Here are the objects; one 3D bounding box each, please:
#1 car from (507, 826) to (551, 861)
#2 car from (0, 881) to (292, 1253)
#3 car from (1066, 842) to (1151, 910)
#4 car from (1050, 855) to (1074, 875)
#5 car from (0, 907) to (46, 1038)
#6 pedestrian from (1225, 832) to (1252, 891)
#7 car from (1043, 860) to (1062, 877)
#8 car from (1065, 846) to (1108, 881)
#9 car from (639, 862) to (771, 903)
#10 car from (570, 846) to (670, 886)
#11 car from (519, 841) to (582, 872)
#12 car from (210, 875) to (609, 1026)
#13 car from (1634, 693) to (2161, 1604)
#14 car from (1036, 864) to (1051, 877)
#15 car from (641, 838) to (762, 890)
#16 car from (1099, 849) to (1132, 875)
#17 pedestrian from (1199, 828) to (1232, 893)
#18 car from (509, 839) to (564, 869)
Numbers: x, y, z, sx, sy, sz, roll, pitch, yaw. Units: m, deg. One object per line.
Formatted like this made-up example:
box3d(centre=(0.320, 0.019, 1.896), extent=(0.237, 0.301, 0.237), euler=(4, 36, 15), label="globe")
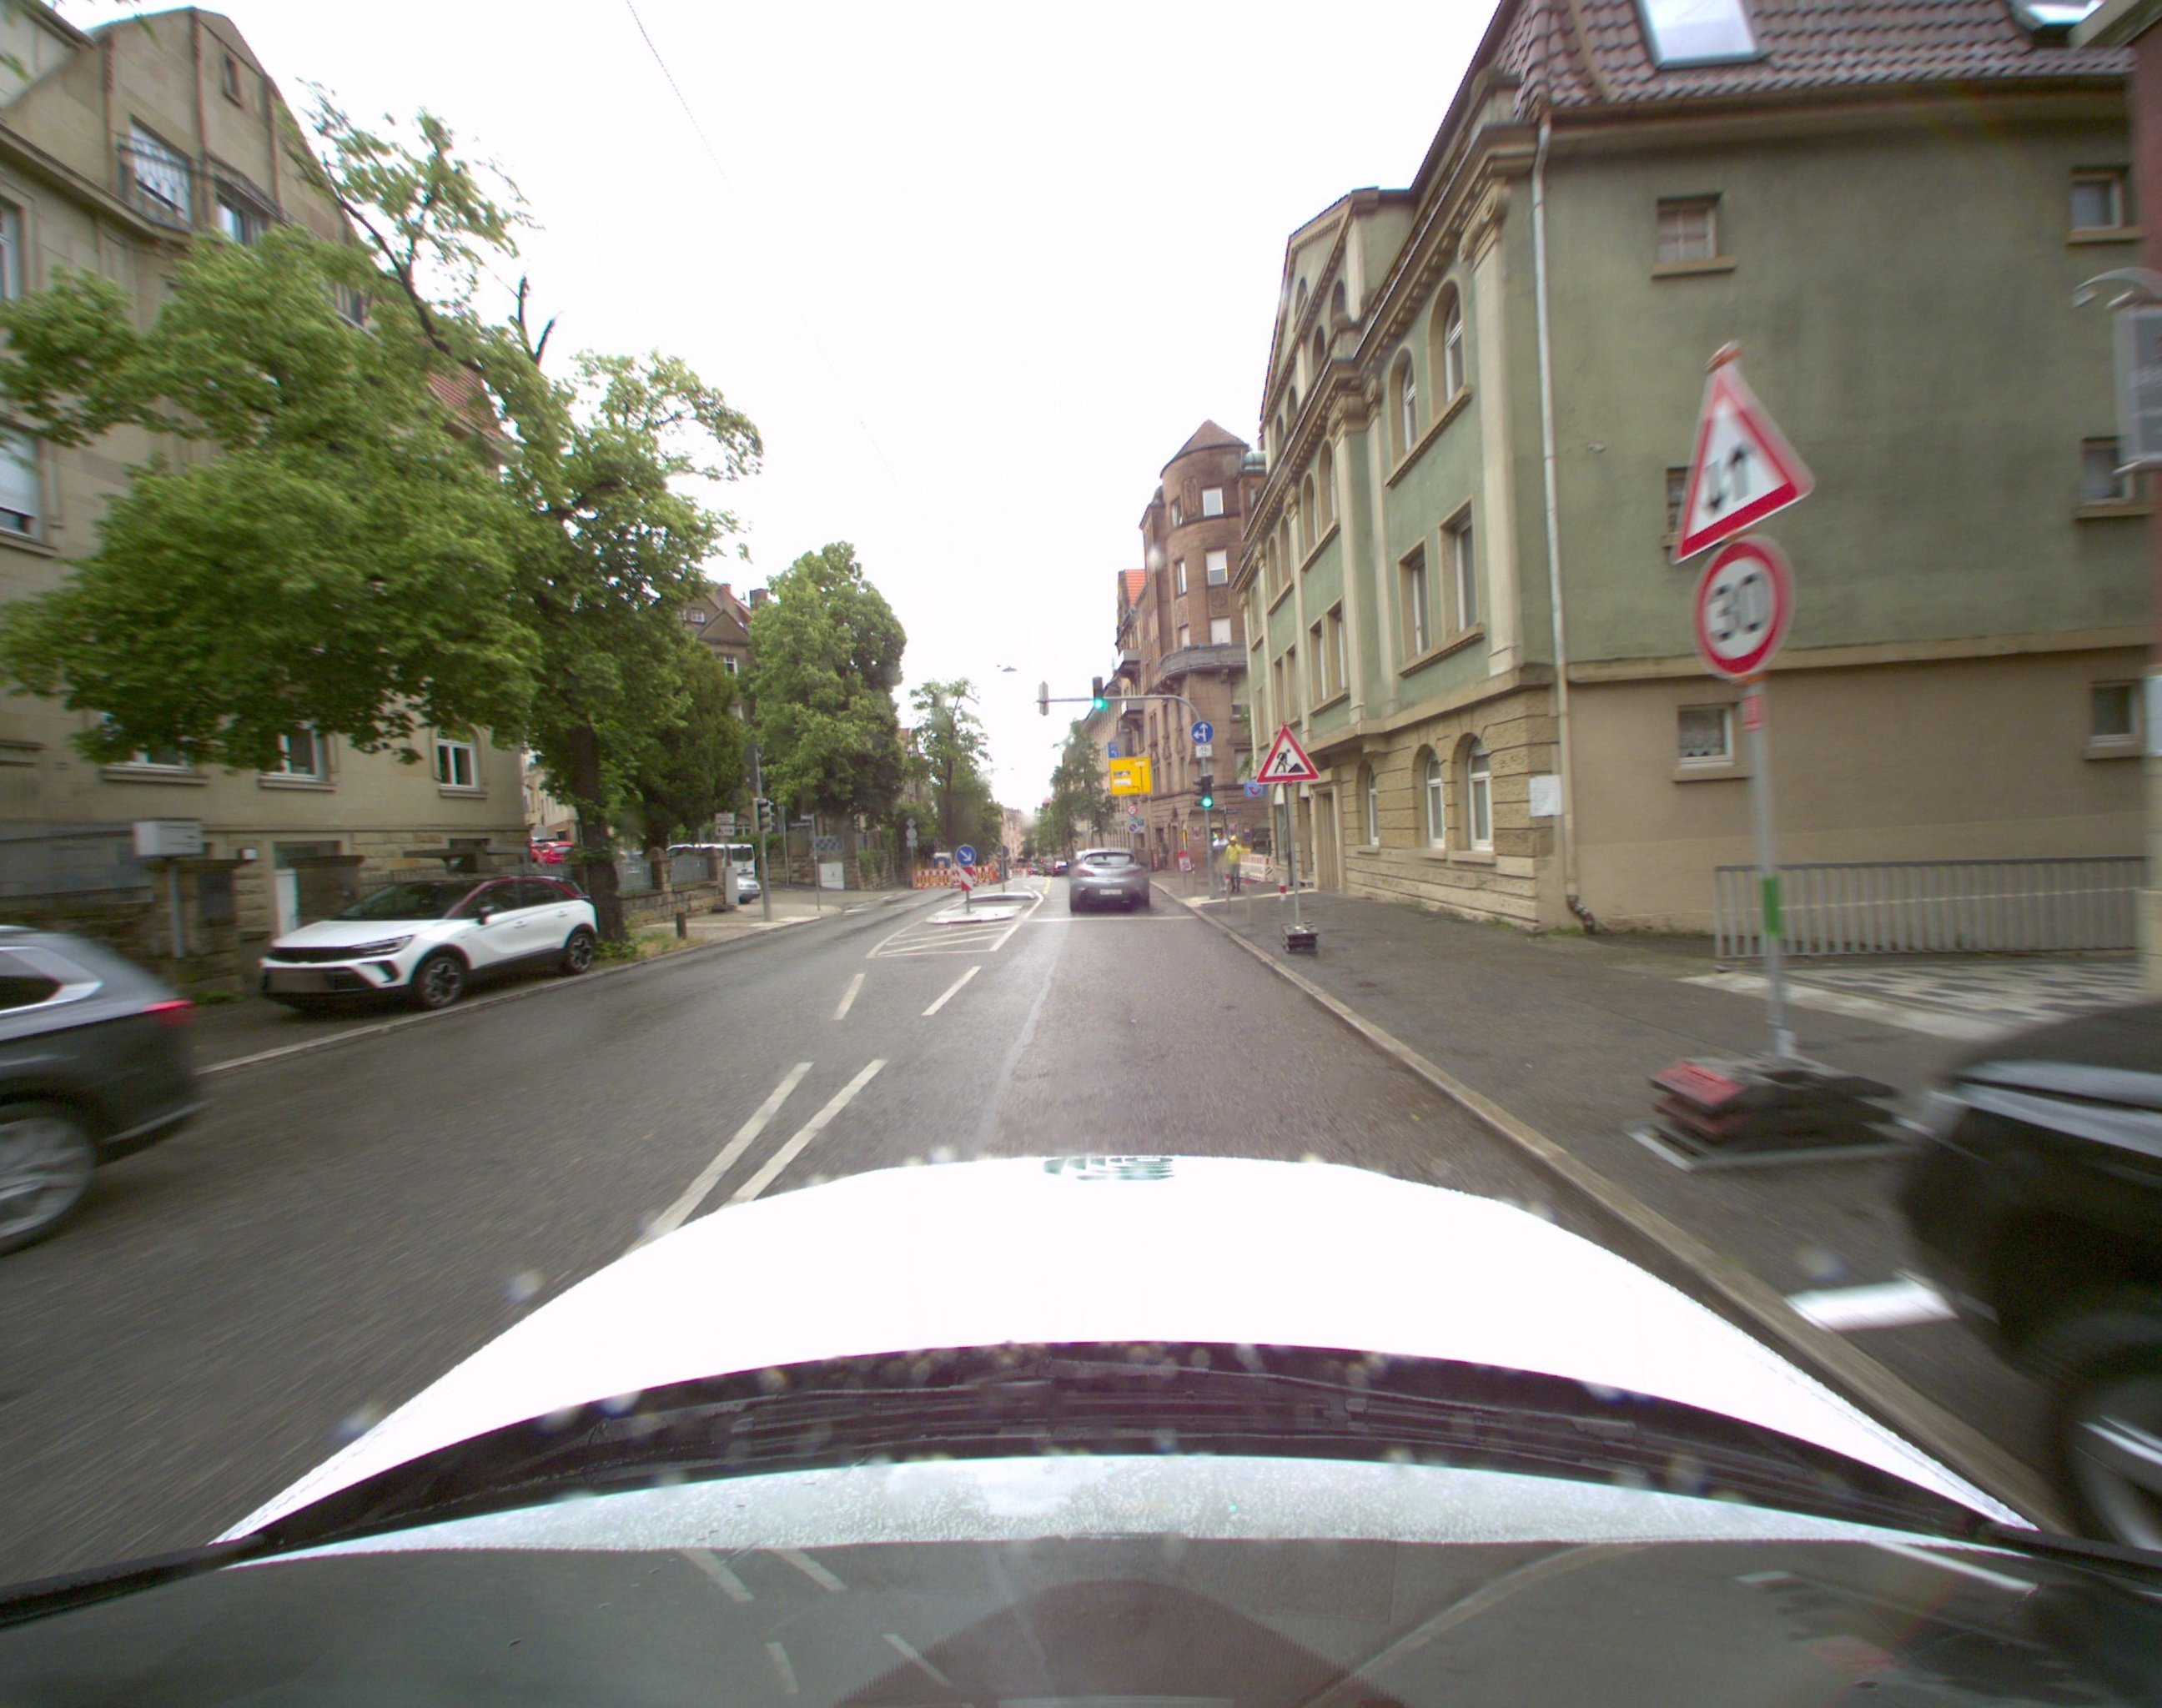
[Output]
box3d(centre=(-35.414, -0.683, 52.209), extent=(1.805, 2.041, 3.891), euler=(4, -1, -41), label="car")
box3d(centre=(-5.511, 0.995, 2.399), extent=(1.809, 1.517, 4.548), euler=(-4, 0, 0), label="car")
box3d(centre=(0.694, 0.509, 19.814), extent=(1.804, 1.449, 3.871), euler=(-2, -1, 3), label="car")
box3d(centre=(-1.646, 0.999, 70.816), extent=(1.655, 1.543, 3.656), euler=(-5, -1, -7), label="car")
box3d(centre=(-13.143, 1.349, 7.802), extent=(3.974, 1.326, 1.837), euler=(-3, 0, 0), label="car")
box3d(centre=(4.381, 0.190, 22.697), extent=(0.593, 1.584, 0.667), euler=(-5, 0, 9), label="pedestrian")
box3d(centre=(-3.013, 1.556, 85.995), extent=(1.654, 1.543, 3.658), euler=(-5, -1, -5), label="car")
box3d(centre=(0.224, 0.430, 38.248), extent=(1.768, 1.504, 3.864), euler=(-2, -1, -3), label="car")
box3d(centre=(-13.423, 1.016, 29.182), extent=(3.842, 1.409, 1.829), euler=(0, -2, 6), label="car")
box3d(centre=(-21.979, 0.541, 38.797), extent=(4.388, 1.513, 2.127), euler=(4, 4, 29), label="car")
box3d(centre=(-28.627, 0.130, 43.912), extent=(2.045, 1.535, 4.389), euler=(3, -2, -44), label="car")
box3d(centre=(-8.591, 1.107, 11.055), extent=(1.735, 1.559, 4.304), euler=(-1, -1, 2), label="car")
box3d(centre=(2.761, 0.436, 0.323), extent=(1.870, 1.629, 4.699), euler=(-6, -1, 2), label="car")
box3d(centre=(-4.884, 2.161, 106.198), extent=(1.654, 1.543, 3.658), euler=(-5, -1, -5), label="car")
box3d(centre=(-17.009, 0.406, 36.545), extent=(4.628, 2.048, 2.034), euler=(3, 2, 16), label="car")
box3d(centre=(2.301, 0.544, 55.017), extent=(1.654, 1.543, 3.658), euler=(-5, -1, -5), label="car")
box3d(centre=(3.849, 0.174, 23.271), extent=(0.712, 1.774, 0.668), euler=(-5, 0, 16), label="pedestrian")
box3d(centre=(-32.081, -0.013, 47.917), extent=(2.124, 1.627, 4.391), euler=(3, -2, -41), label="car")
